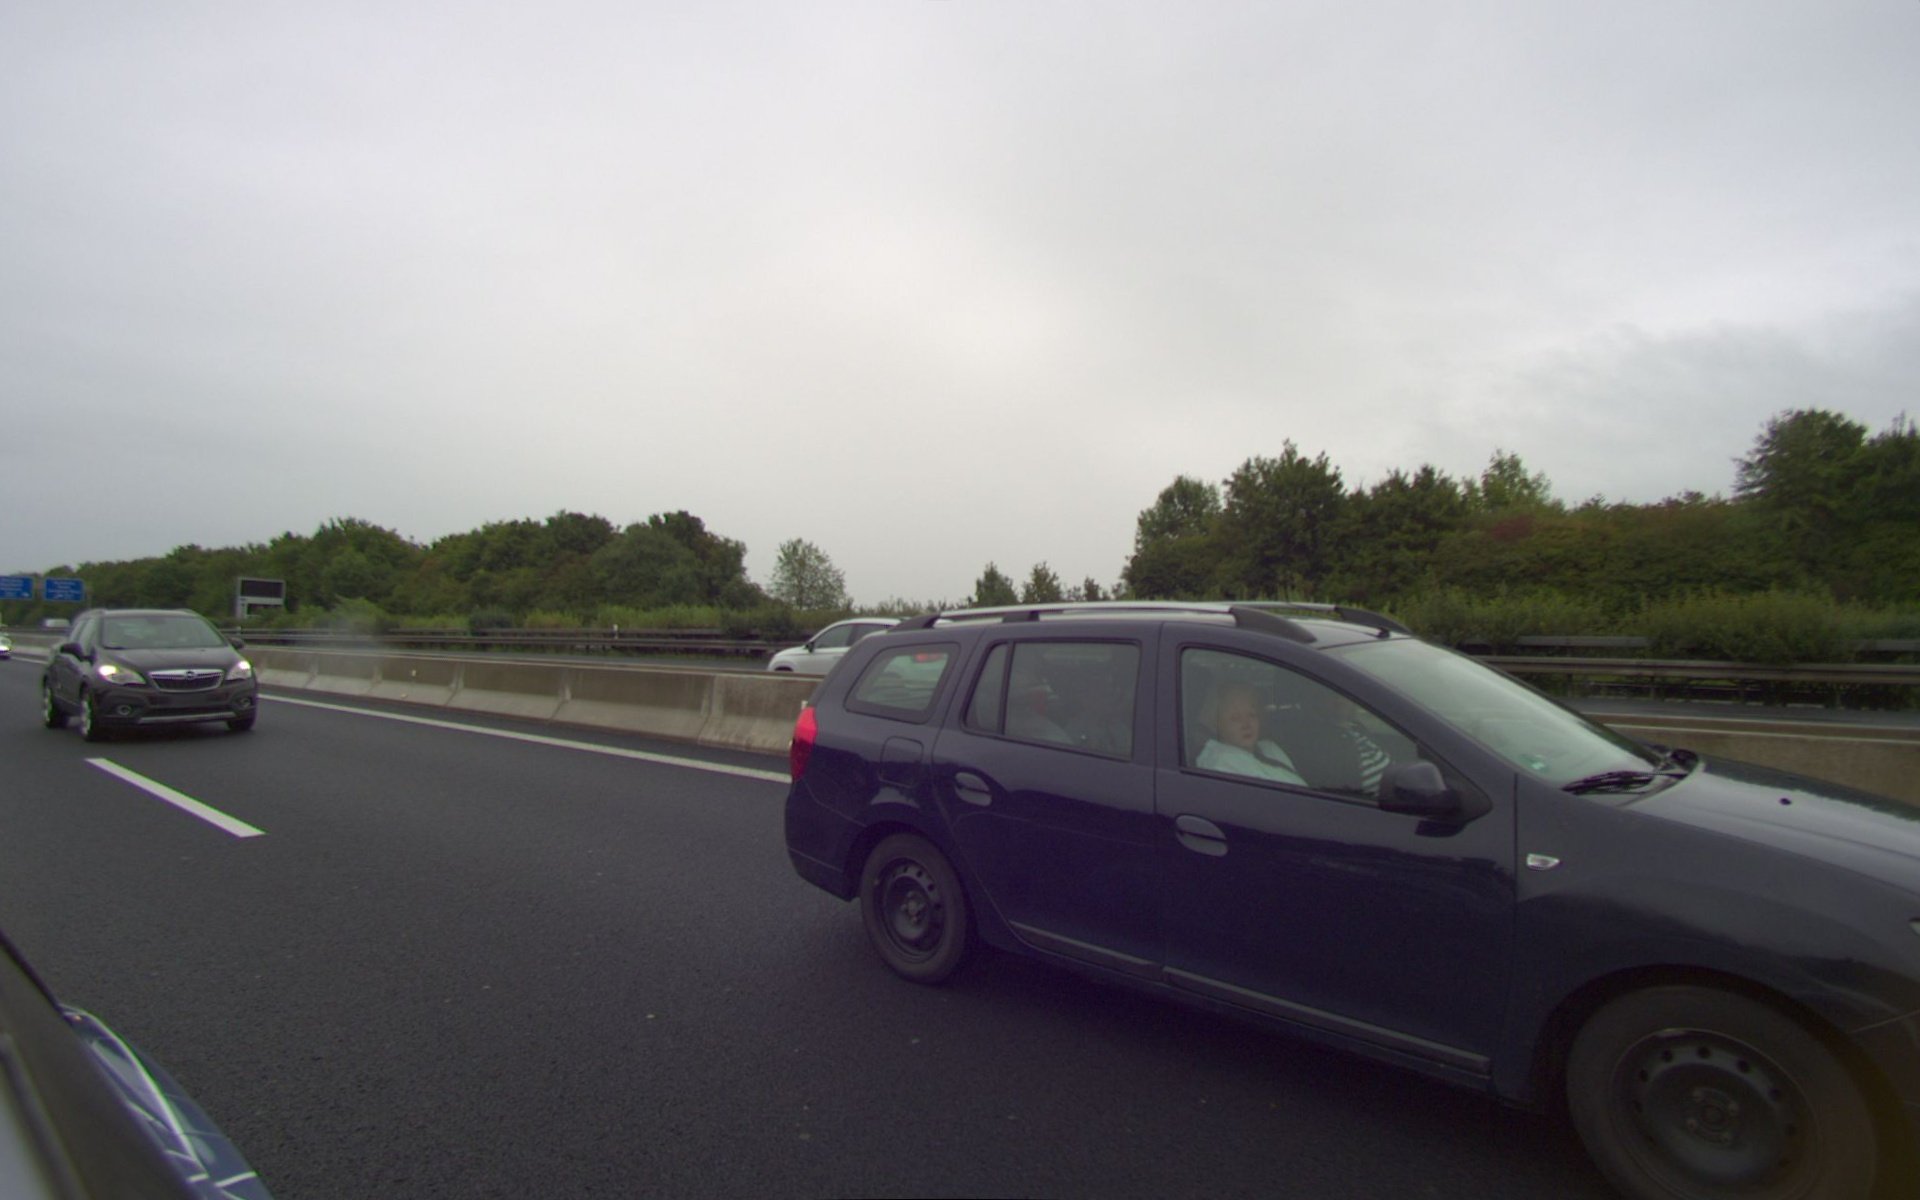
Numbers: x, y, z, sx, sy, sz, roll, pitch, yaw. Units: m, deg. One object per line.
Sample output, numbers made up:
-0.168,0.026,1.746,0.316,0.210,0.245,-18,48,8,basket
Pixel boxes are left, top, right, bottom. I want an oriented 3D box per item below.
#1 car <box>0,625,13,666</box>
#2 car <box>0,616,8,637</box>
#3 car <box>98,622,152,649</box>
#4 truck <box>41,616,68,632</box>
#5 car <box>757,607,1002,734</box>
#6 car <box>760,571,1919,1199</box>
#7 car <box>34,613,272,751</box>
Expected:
-37.969,1.723,38.832,4.561,1.501,1.705,-1,-2,39,car
-82.389,2.253,85.780,4.300,1.724,1.973,-1,-2,40,car
-53.262,2.240,64.530,4.599,1.662,1.872,-1,-2,40,car
-132.672,3.519,148.314,6.153,2.259,2.005,-1,-2,39,truck
-1.483,1.106,17.498,4.314,1.934,1.719,-1,-2,41,car
1.344,0.735,3.704,4.566,1.501,1.703,-1,-2,42,car
-10.941,0.980,13.643,3.832,1.592,1.790,-1,-2,40,car
